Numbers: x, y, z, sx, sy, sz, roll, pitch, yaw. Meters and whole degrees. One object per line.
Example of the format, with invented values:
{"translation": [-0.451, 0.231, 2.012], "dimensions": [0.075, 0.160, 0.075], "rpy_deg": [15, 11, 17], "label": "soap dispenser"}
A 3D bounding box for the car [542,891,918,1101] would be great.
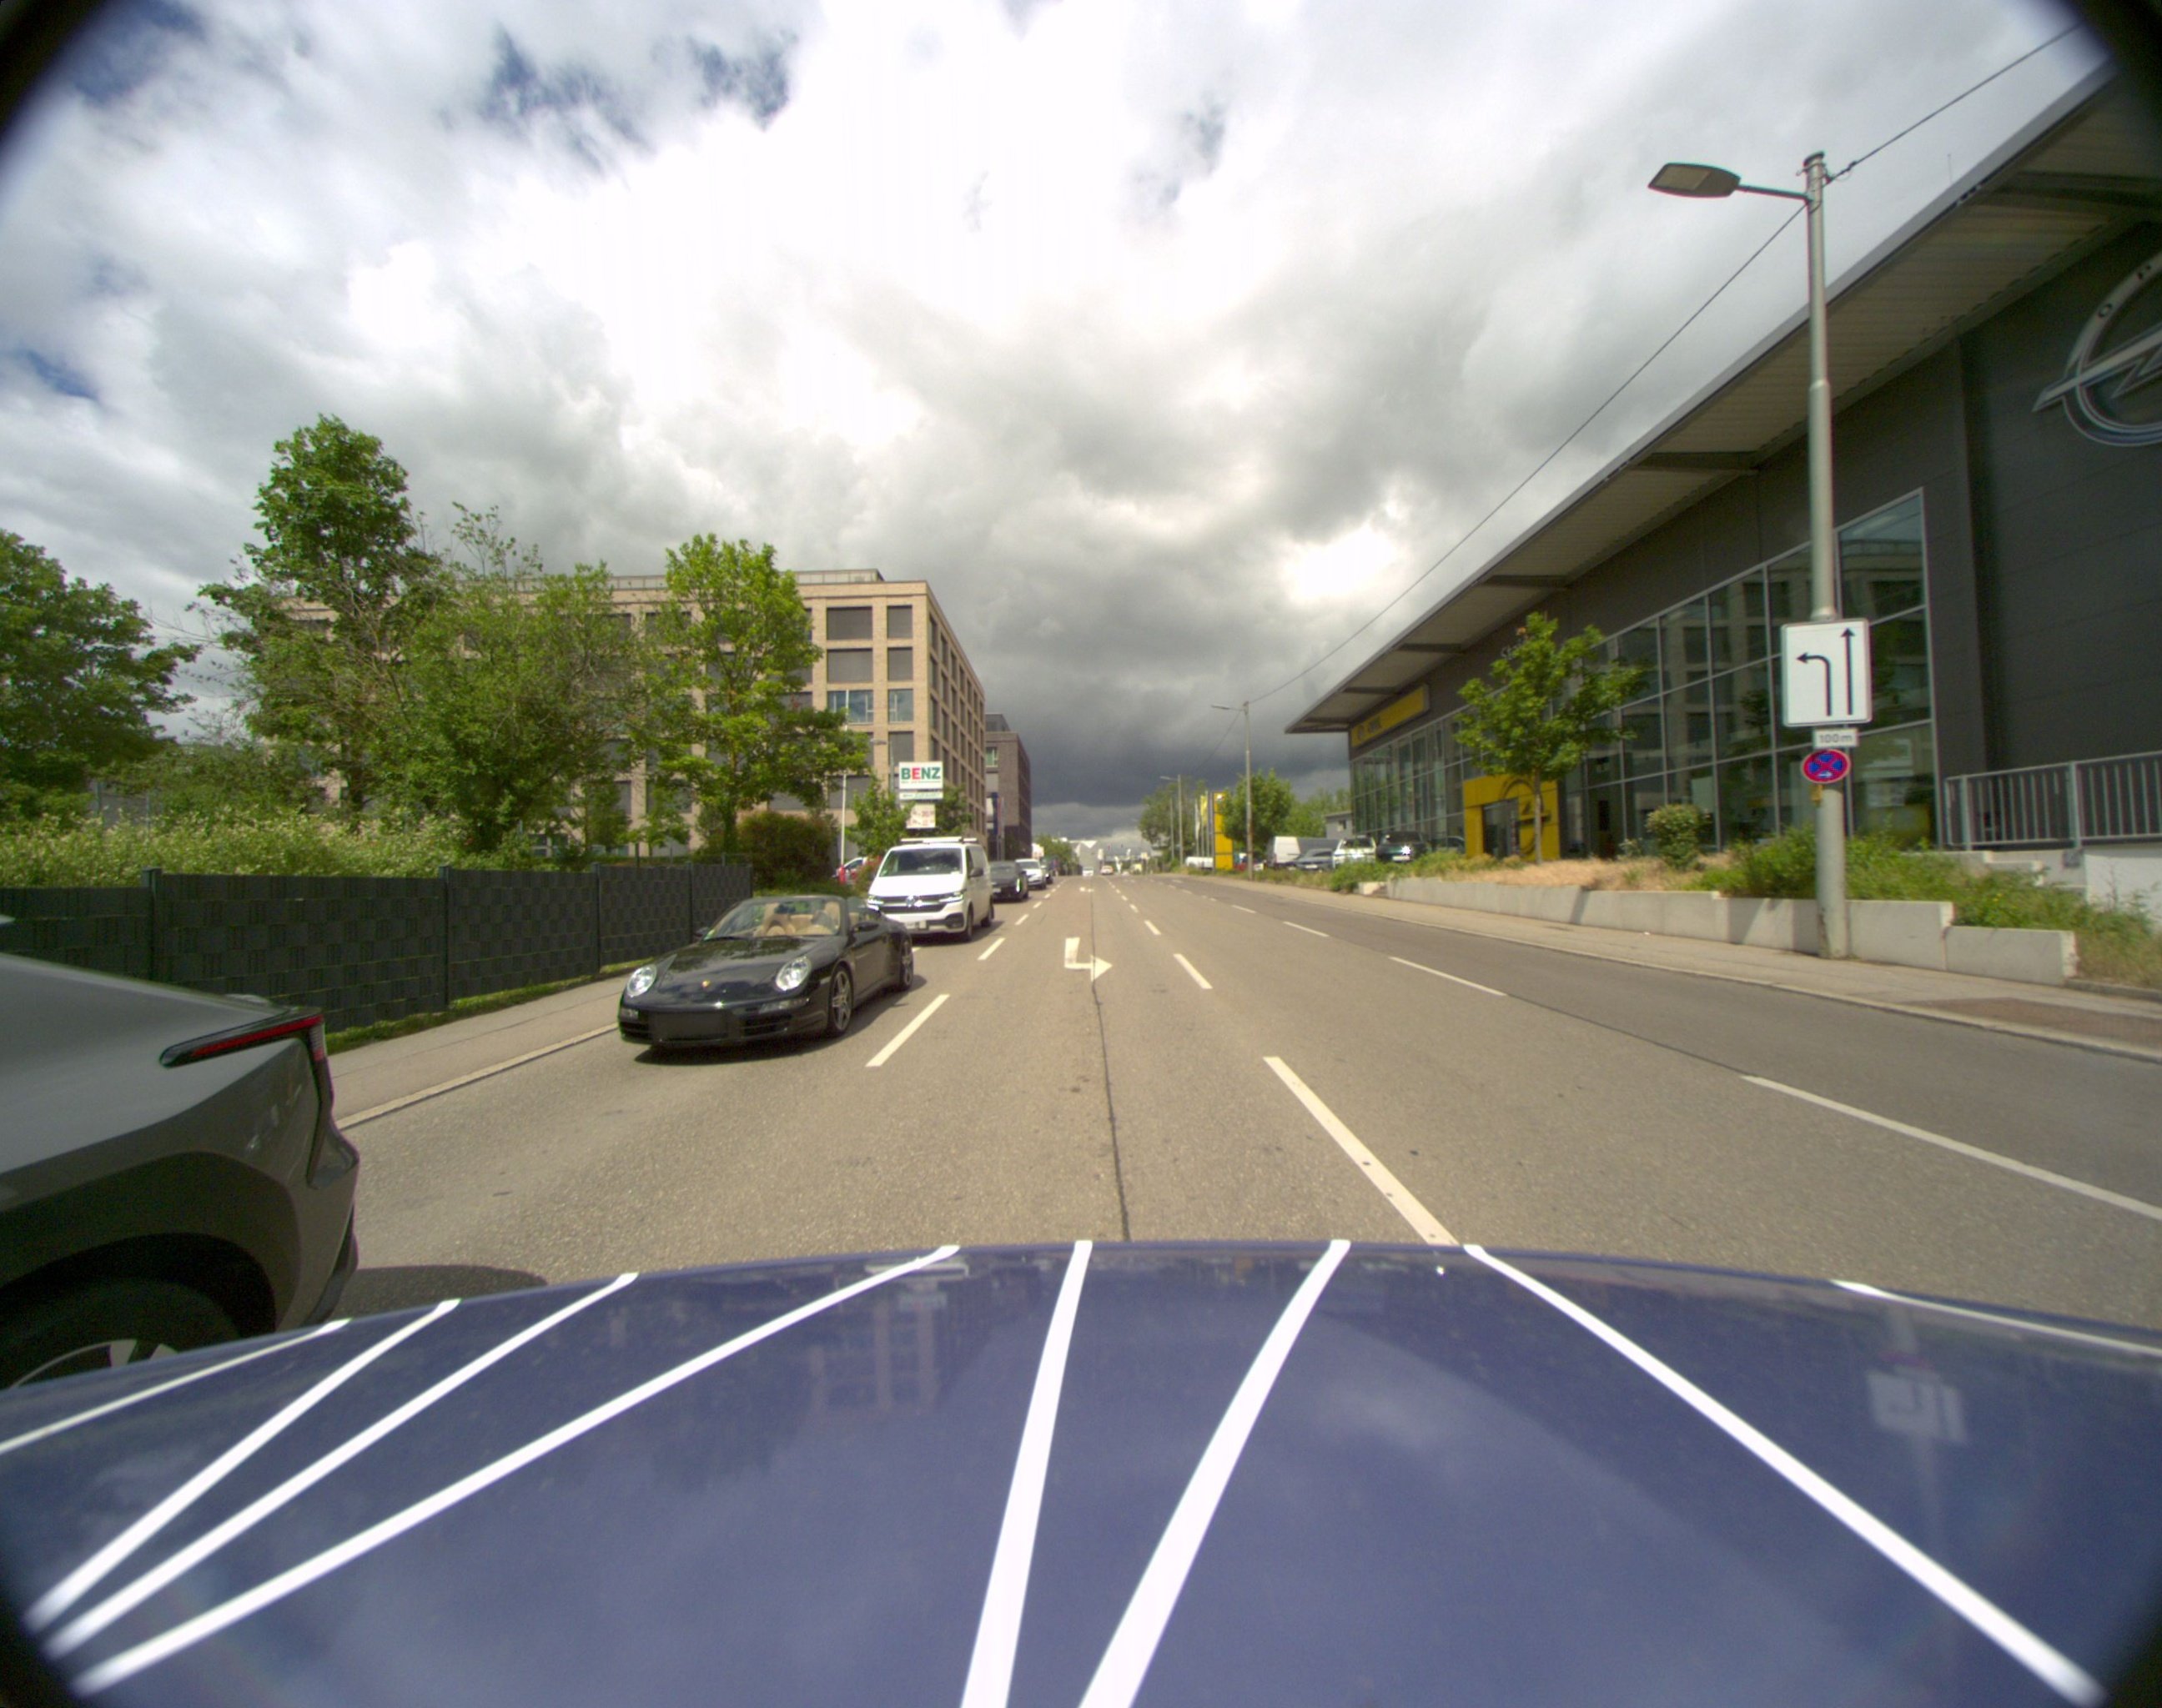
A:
{"translation": [-3.044, 1.157, 7.669], "dimensions": [1.824, 1.286, 4.038], "rpy_deg": [-2, 0, 1], "label": "car"}

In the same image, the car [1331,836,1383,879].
{"translation": [12.161, 0.133, 33.438], "dimensions": [1.995, 1.783, 4.006], "rpy_deg": [-1, 0, 21], "label": "car"}

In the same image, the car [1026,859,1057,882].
{"translation": [-2.458, 1.006, 47.881], "dimensions": [1.662, 1.351, 4.000], "rpy_deg": [-1, 0, 1], "label": "car"}

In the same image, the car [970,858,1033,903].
{"translation": [-2.835, 0.918, 27.884], "dimensions": [1.818, 1.454, 4.000], "rpy_deg": [-1, 0, 1], "label": "car"}

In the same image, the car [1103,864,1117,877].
{"translation": [4.484, 2.519, 117.021], "dimensions": [1.998, 1.731, 4.547], "rpy_deg": [-2, 0, 1], "label": "car"}

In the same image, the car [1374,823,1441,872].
{"translation": [12.329, -0.248, 28.927], "dimensions": [1.996, 1.718, 4.005], "rpy_deg": [-1, 0, 18], "label": "car"}

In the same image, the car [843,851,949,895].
{"translation": [-7.635, 0.773, 31.657], "dimensions": [3.998, 1.723, 1.822], "rpy_deg": [-1, 1, -3], "label": "car"}

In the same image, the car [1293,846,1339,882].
{"translation": [12.100, 0.473, 39.012], "dimensions": [1.995, 1.783, 4.006], "rpy_deg": [-1, 0, 21], "label": "car"}

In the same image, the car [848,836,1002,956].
{"translation": [-3.022, 0.737, 15.886], "dimensions": [2.089, 2.037, 4.760], "rpy_deg": [-2, 0, 1], "label": "car"}

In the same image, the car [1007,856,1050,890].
{"translation": [-2.600, 0.901, 38.425], "dimensions": [1.818, 1.577, 4.000], "rpy_deg": [-1, 0, 1], "label": "car"}

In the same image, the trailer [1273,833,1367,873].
{"translation": [14.444, -0.063, 46.172], "dimensions": [5.074, 2.336, 2.000], "rpy_deg": [-1, 1, -1], "label": "trailer"}

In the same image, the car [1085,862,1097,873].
{"translation": [1.843, 2.404, 136.389], "dimensions": [1.998, 1.819, 4.547], "rpy_deg": [-2, 0, 2], "label": "car"}
